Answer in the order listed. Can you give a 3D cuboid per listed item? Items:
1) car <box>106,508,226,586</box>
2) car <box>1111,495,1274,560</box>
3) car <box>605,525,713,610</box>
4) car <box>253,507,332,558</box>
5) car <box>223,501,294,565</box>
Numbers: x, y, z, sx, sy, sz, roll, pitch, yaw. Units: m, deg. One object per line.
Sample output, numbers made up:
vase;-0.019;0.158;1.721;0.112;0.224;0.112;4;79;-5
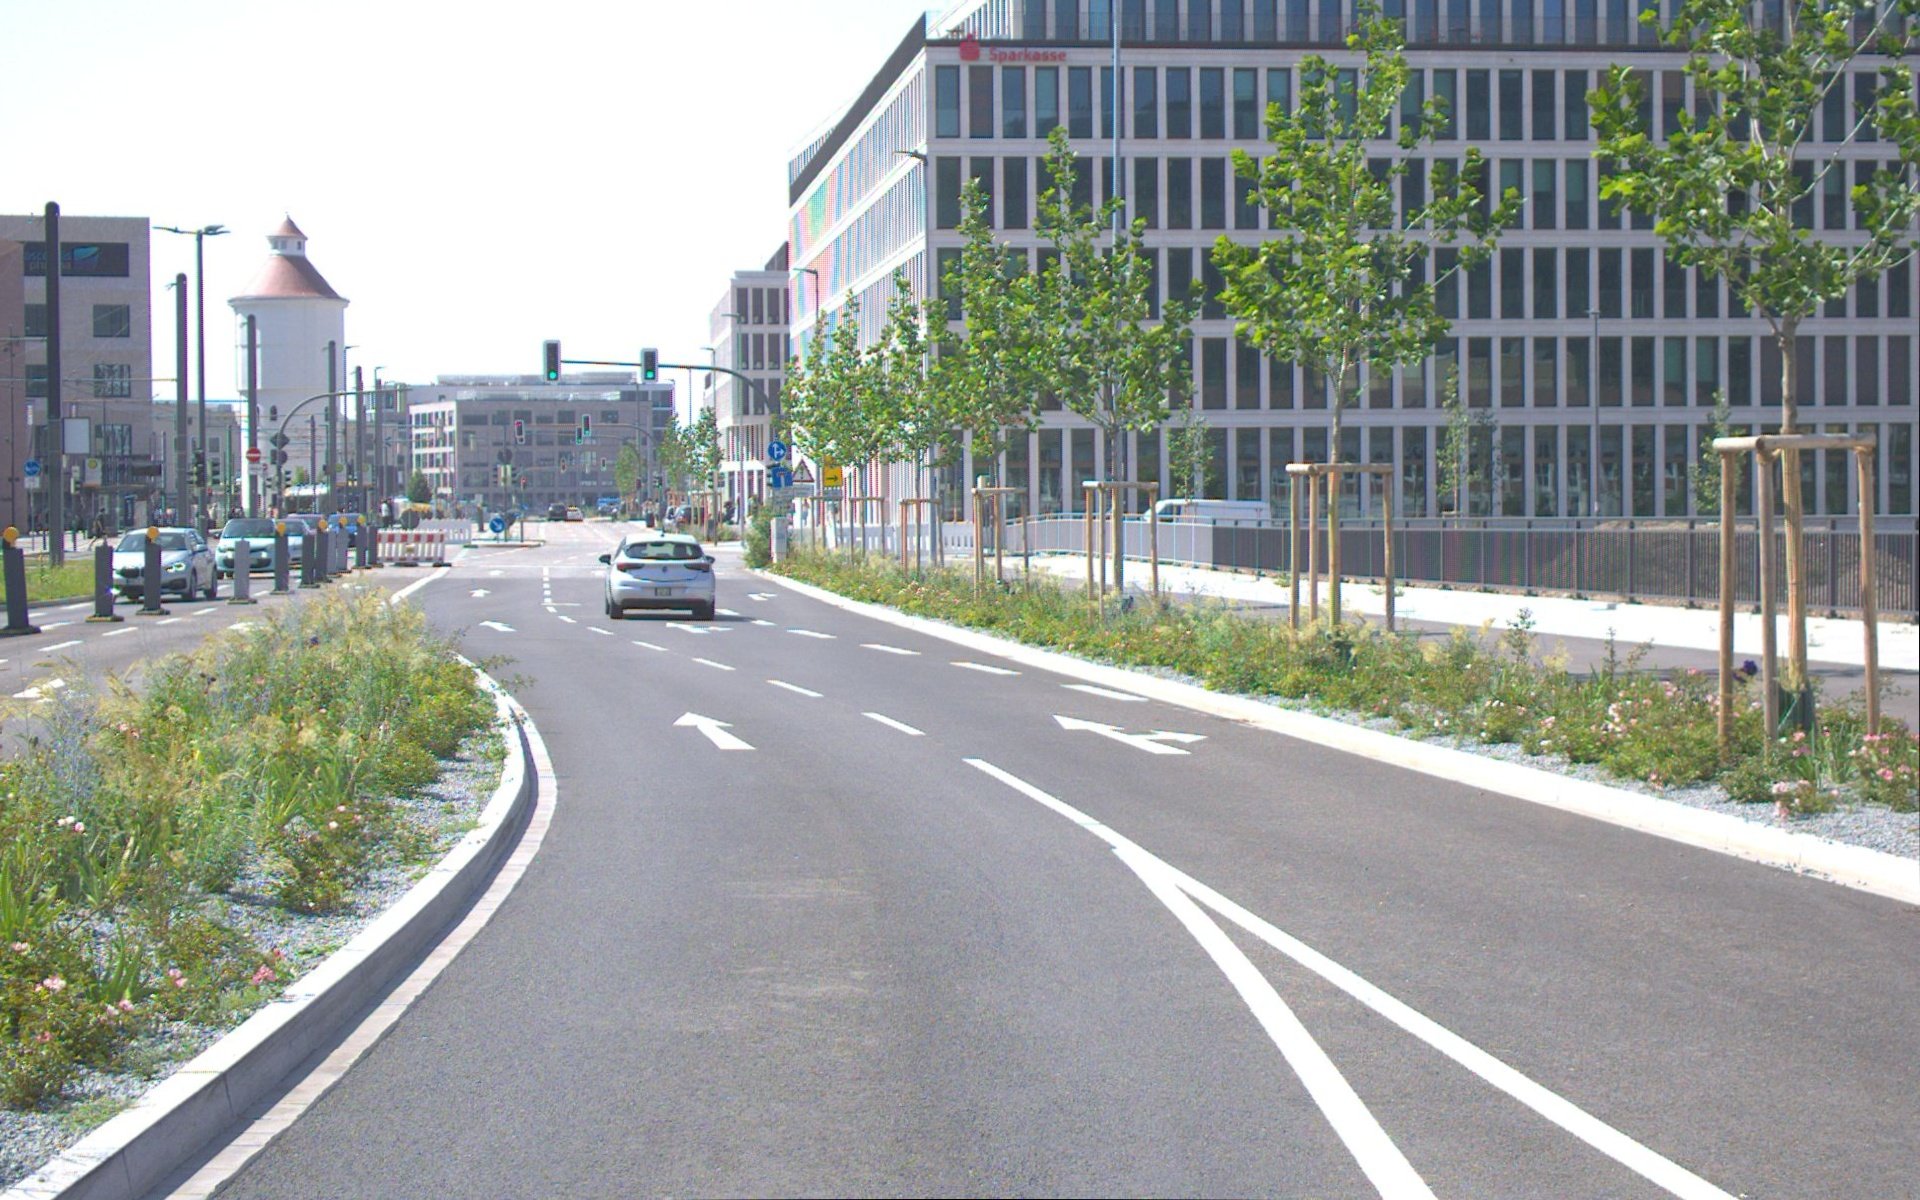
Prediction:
car;-15.769;-1.071;68.437;1.673;1.438;4.469;-2;1;-5
car;8.879;-2.768;131.504;5.835;2.262;2.147;2;2;-6
car;-5.189;-0.562;59.355;1.771;1.390;3.532;1;0;-5
car;-19.270;-1.959;99.429;1.580;1.411;4.297;-1;1;-2
car;-17.952;-1.713;88.092;1.579;1.525;3.622;-3;1;-9
